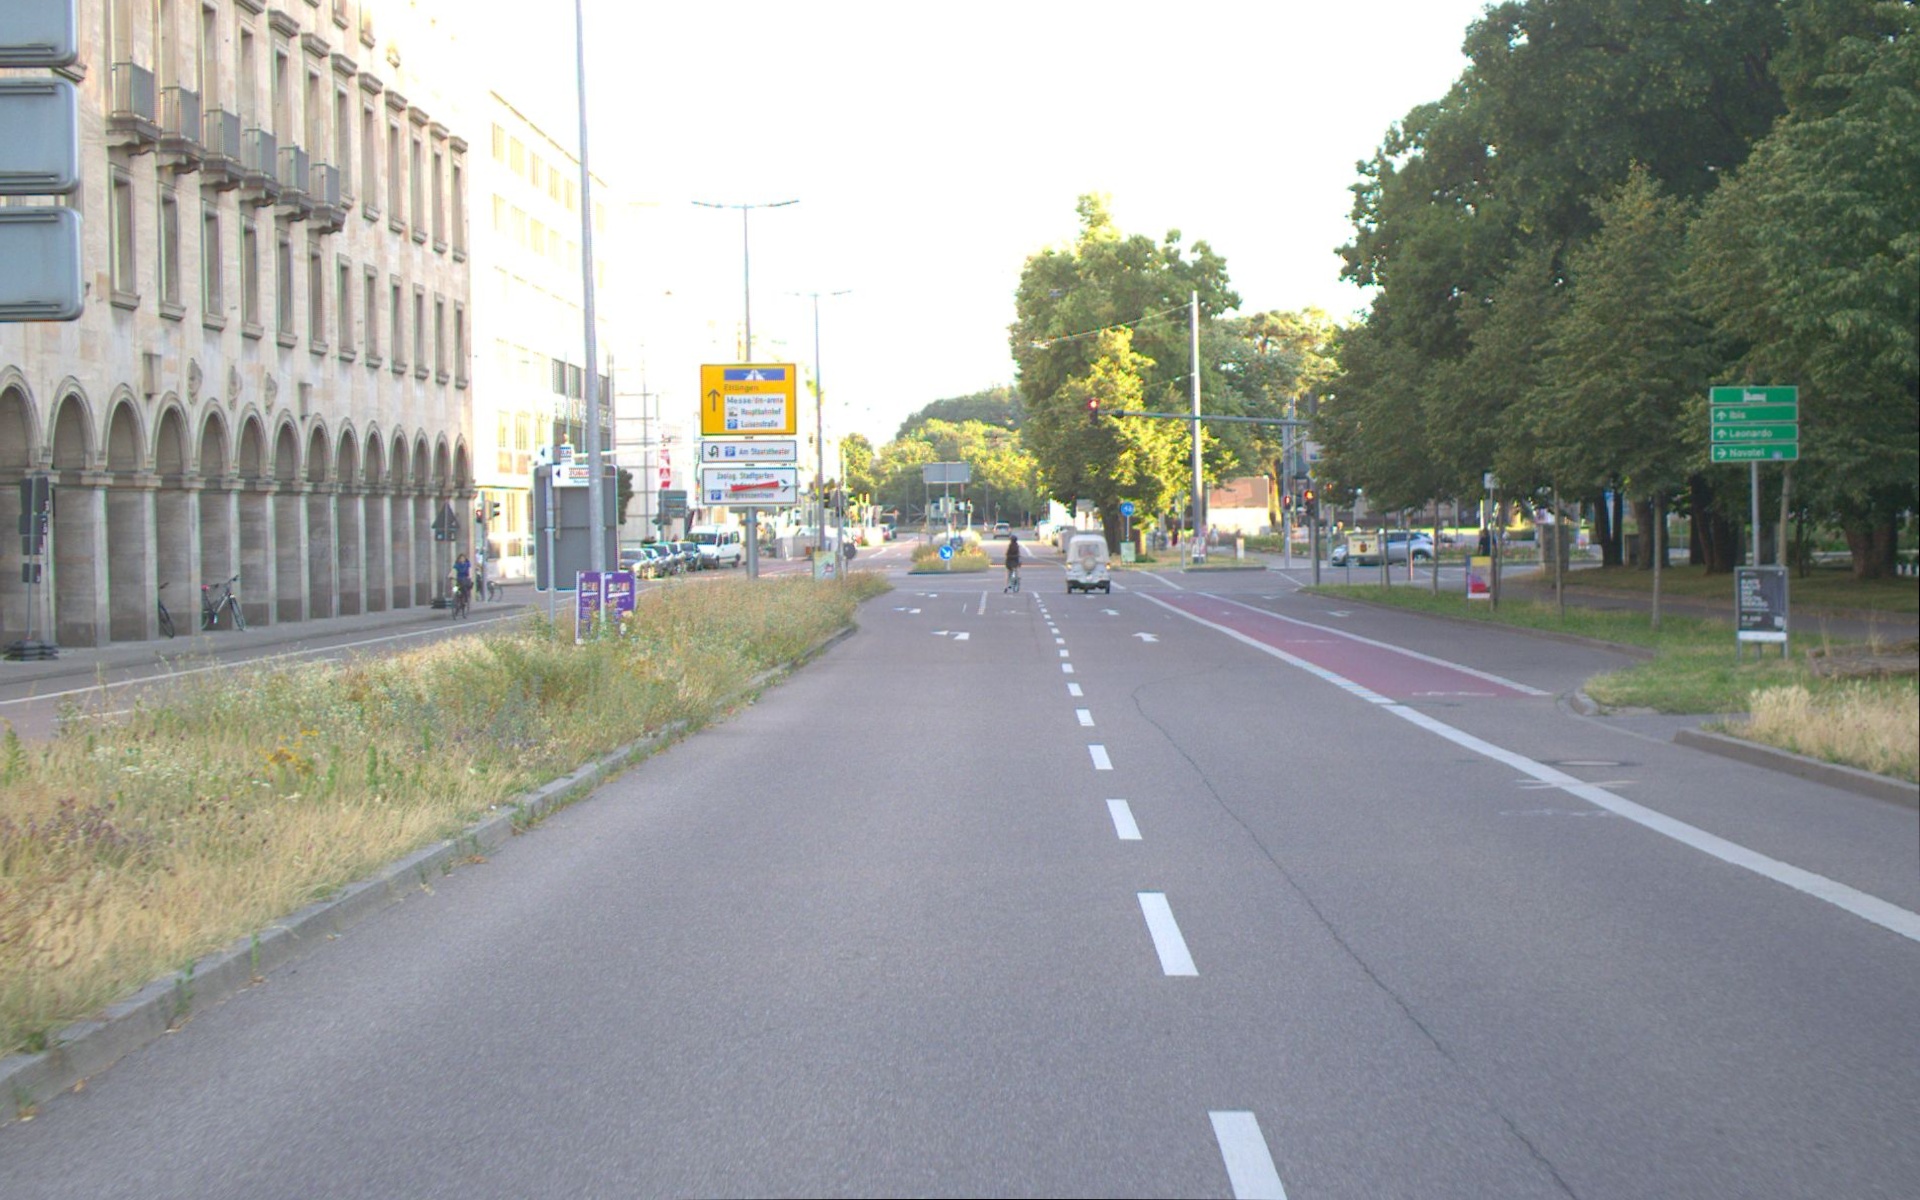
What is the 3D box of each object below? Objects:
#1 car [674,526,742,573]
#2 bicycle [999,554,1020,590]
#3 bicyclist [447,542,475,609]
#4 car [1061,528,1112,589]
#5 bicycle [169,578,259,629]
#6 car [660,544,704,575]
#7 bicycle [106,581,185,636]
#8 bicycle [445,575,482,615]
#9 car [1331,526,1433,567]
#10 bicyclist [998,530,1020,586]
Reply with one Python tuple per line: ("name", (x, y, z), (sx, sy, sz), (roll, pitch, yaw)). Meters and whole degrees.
("car", (-14.147, -2.834, 193.376), (2.178, 2.377, 5.986), (-2, -1, 12))
("bicycle", (1.498, -0.864, 104.364), (0.637, 1.065, 2.069), (0, 1, 1))
("bicyclist", (-12.774, -0.623, 88.069), (0.536, 1.687, 0.749), (-2, 1, -19))
("car", (3.821, -1.266, 103.741), (1.459, 1.774, 2.564), (-1, 1, 3))
("bicycle", (-15.685, 0.067, 72.311), (0.478, 1.002, 2.001), (0, 1, 37))
("car", (-15.093, -2.189, 186.805), (1.796, 1.470, 3.999), (-1, -1, 4))
("bicycle", (-15.930, 0.159, 67.276), (0.477, 1.002, 2.003), (-1, 1, 19))
("bicycle", (-12.692, -0.133, 87.886), (0.541, 1.002, 2.005), (-1, 1, -20))
("car", (17.227, -2.193, 140.587), (3.987, 1.568, 2.000), (-1, 1, 4))
("bicyclist", (1.479, -1.279, 104.042), (0.628, 1.687, 0.748), (-1, 1, 0))
